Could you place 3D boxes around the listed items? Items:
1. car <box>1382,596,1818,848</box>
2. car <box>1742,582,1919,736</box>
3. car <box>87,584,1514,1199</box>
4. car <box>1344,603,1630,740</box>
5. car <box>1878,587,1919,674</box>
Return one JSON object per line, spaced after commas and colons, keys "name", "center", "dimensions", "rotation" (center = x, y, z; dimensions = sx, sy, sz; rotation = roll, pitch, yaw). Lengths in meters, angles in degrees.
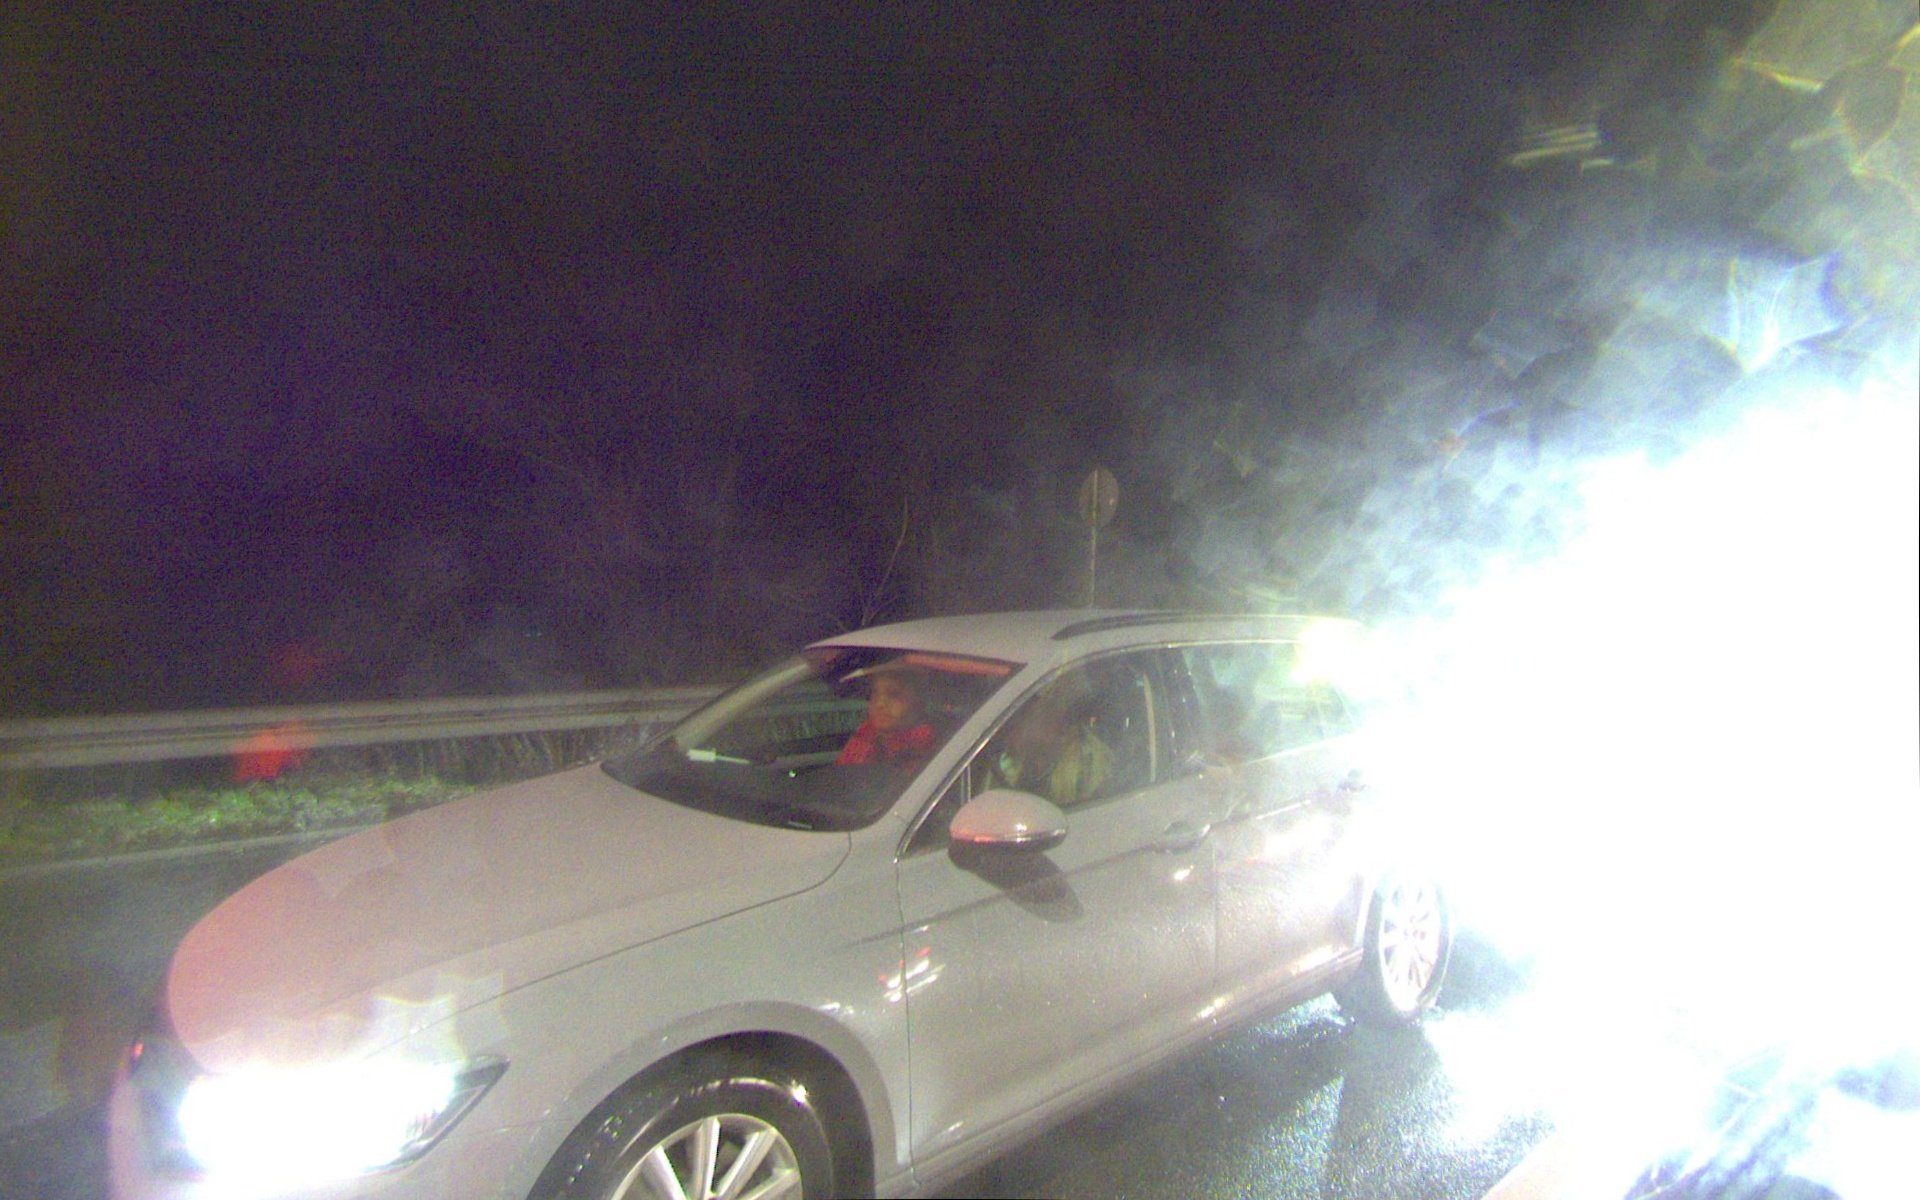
{"name": "car", "center": [5.137, 0.705, 7.902], "dimensions": [4.067, 1.435, 1.742], "rotation": [-1, 0, -40]}
{"name": "car", "center": [11.518, 0.607, 12.607], "dimensions": [4.315, 1.618, 1.997], "rotation": [-1, 2, -41]}
{"name": "car", "center": [0.025, 0.727, 3.325], "dimensions": [4.336, 1.541, 1.710], "rotation": [-1, 0, -40]}
{"name": "car", "center": [7.166, 0.835, 13.590], "dimensions": [4.263, 1.500, 1.996], "rotation": [-1, -1, -42]}
{"name": "car", "center": [19.846, 0.562, 20.009], "dimensions": [4.315, 1.618, 1.997], "rotation": [-1, 2, -41]}
